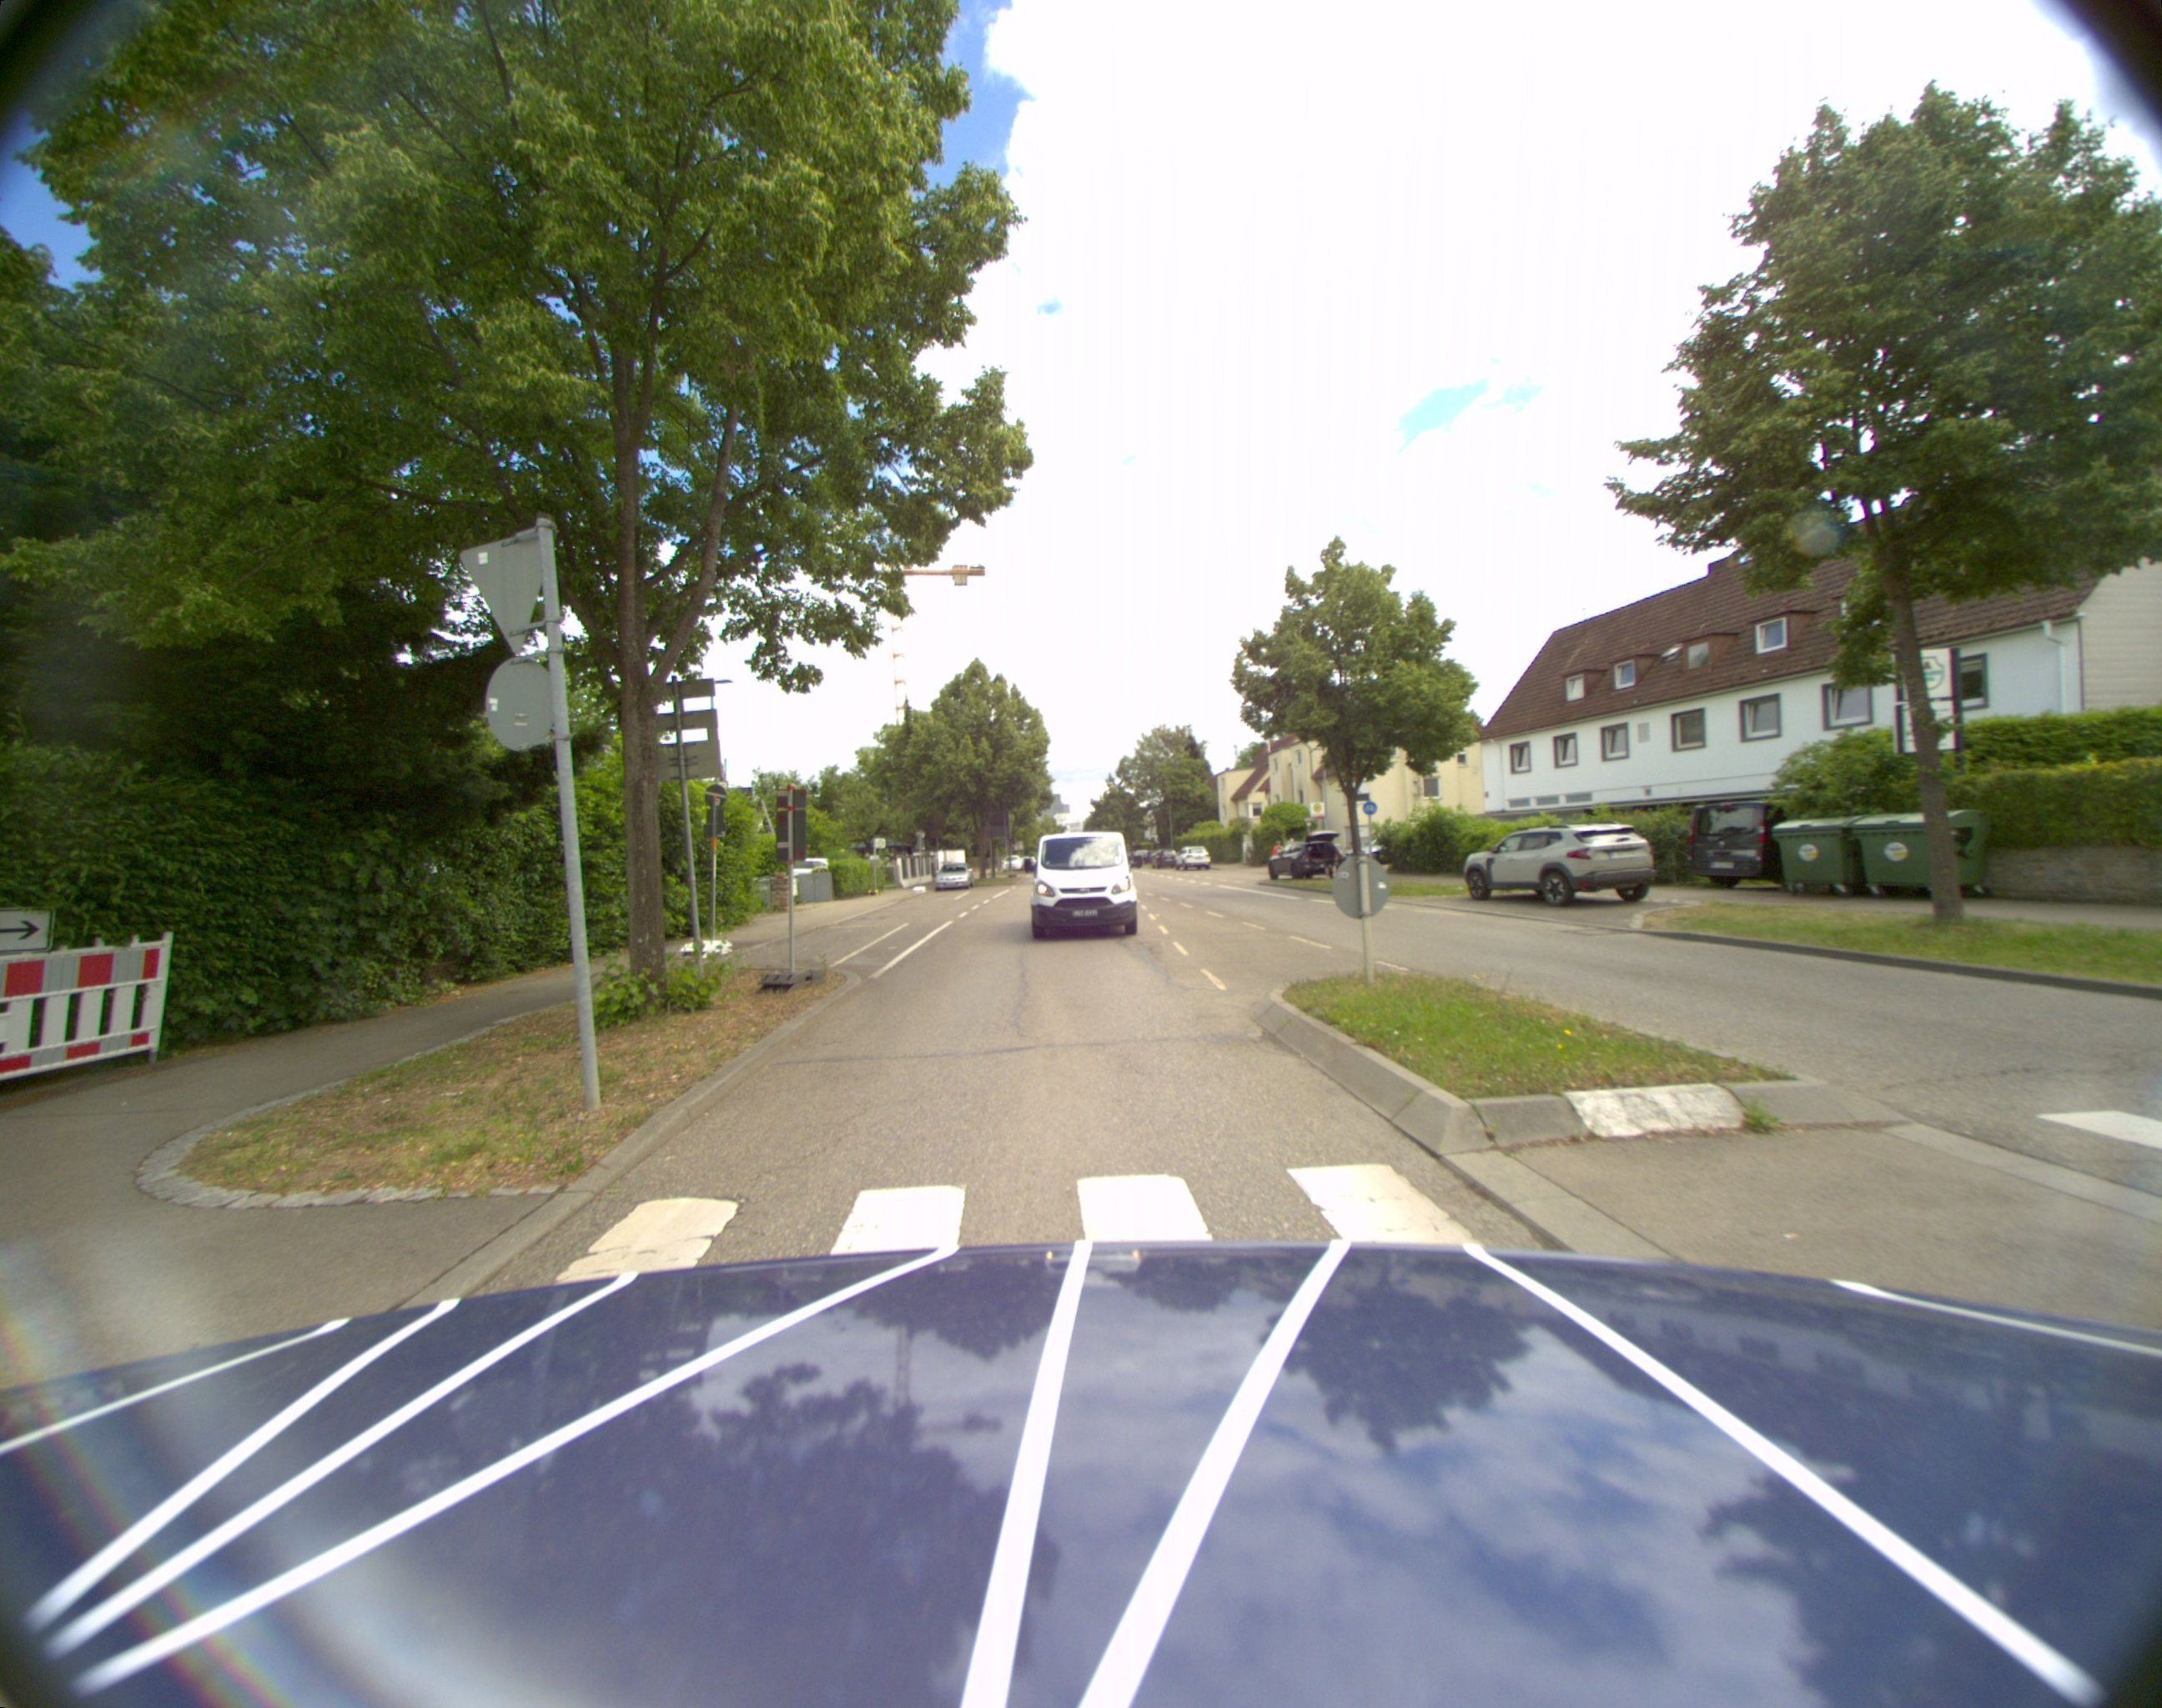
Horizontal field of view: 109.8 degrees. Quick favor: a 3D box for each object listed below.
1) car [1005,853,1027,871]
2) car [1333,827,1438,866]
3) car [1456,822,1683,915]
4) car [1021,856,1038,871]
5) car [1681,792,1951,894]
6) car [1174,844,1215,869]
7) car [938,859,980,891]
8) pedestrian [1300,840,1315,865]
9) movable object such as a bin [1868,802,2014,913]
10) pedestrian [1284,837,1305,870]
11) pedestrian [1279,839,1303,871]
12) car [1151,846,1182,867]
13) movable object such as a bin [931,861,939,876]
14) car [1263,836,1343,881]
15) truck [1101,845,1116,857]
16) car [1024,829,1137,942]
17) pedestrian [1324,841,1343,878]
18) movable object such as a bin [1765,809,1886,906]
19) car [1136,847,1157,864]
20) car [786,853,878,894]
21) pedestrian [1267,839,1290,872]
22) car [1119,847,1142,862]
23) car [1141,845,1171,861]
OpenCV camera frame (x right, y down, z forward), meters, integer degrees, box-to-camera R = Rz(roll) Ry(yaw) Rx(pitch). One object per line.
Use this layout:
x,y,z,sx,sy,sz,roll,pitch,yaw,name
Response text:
-6.620,0.753,77.412,1.906,1.633,4.115,-3,1,-2,car
15.165,-0.359,37.851,4.530,1.545,2.033,-5,1,-19,car
10.269,0.259,16.449,1.866,1.644,4.292,-4,1,-4,car
-6.616,1.166,97.459,1.866,1.602,4.685,-4,1,-1,car
15.917,-0.233,16.630,3.998,1.880,1.999,-3,1,-2,car
8.067,0.150,54.505,1.826,1.624,4.584,-3,0,-5,car
-6.413,1.068,40.307,1.616,1.369,4.385,-3,2,-2,car
14.380,-0.097,48.181,0.672,1.551,0.836,-2,1,3,pedestrian
14.115,0.053,12.507,1.209,1.641,0.997,-5,1,-5,movable object such as a bin
11.248,-0.008,40.083,0.789,1.654,0.591,-6,1,-3,pedestrian
11.470,0.057,41.484,0.789,1.654,0.881,-7,1,-9,pedestrian
6.879,0.209,61.532,1.682,1.543,4.271,-3,0,-3,car
-10.228,1.000,53.122,0.437,1.016,0.454,-3,1,-1,movable object such as a bin
9.515,0.183,32.945,1.729,1.715,4.562,-4,1,-5,car
5.204,-0.531,143.553,2.429,2.031,5.994,-3,0,0,truck
0.018,0.546,16.714,1.998,2.002,5.188,-3,1,1,car
10.043,0.220,30.224,0.553,1.428,0.497,-2,1,29,pedestrian
13.861,0.052,14.177,1.209,1.641,0.997,-5,1,-5,movable object such as a bin
6.836,0.126,79.760,1.723,1.604,3.909,-3,1,-2,car
-12.618,0.969,38.700,3.998,1.812,1.999,-3,1,-4,car
10.647,0.068,41.009,0.789,1.654,0.754,-7,1,-9,pedestrian
6.079,0.066,93.704,2.101,1.637,5.036,-2,0,-4,car
7.262,-0.105,74.262,1.999,1.476,4.888,-2,0,-5,car
